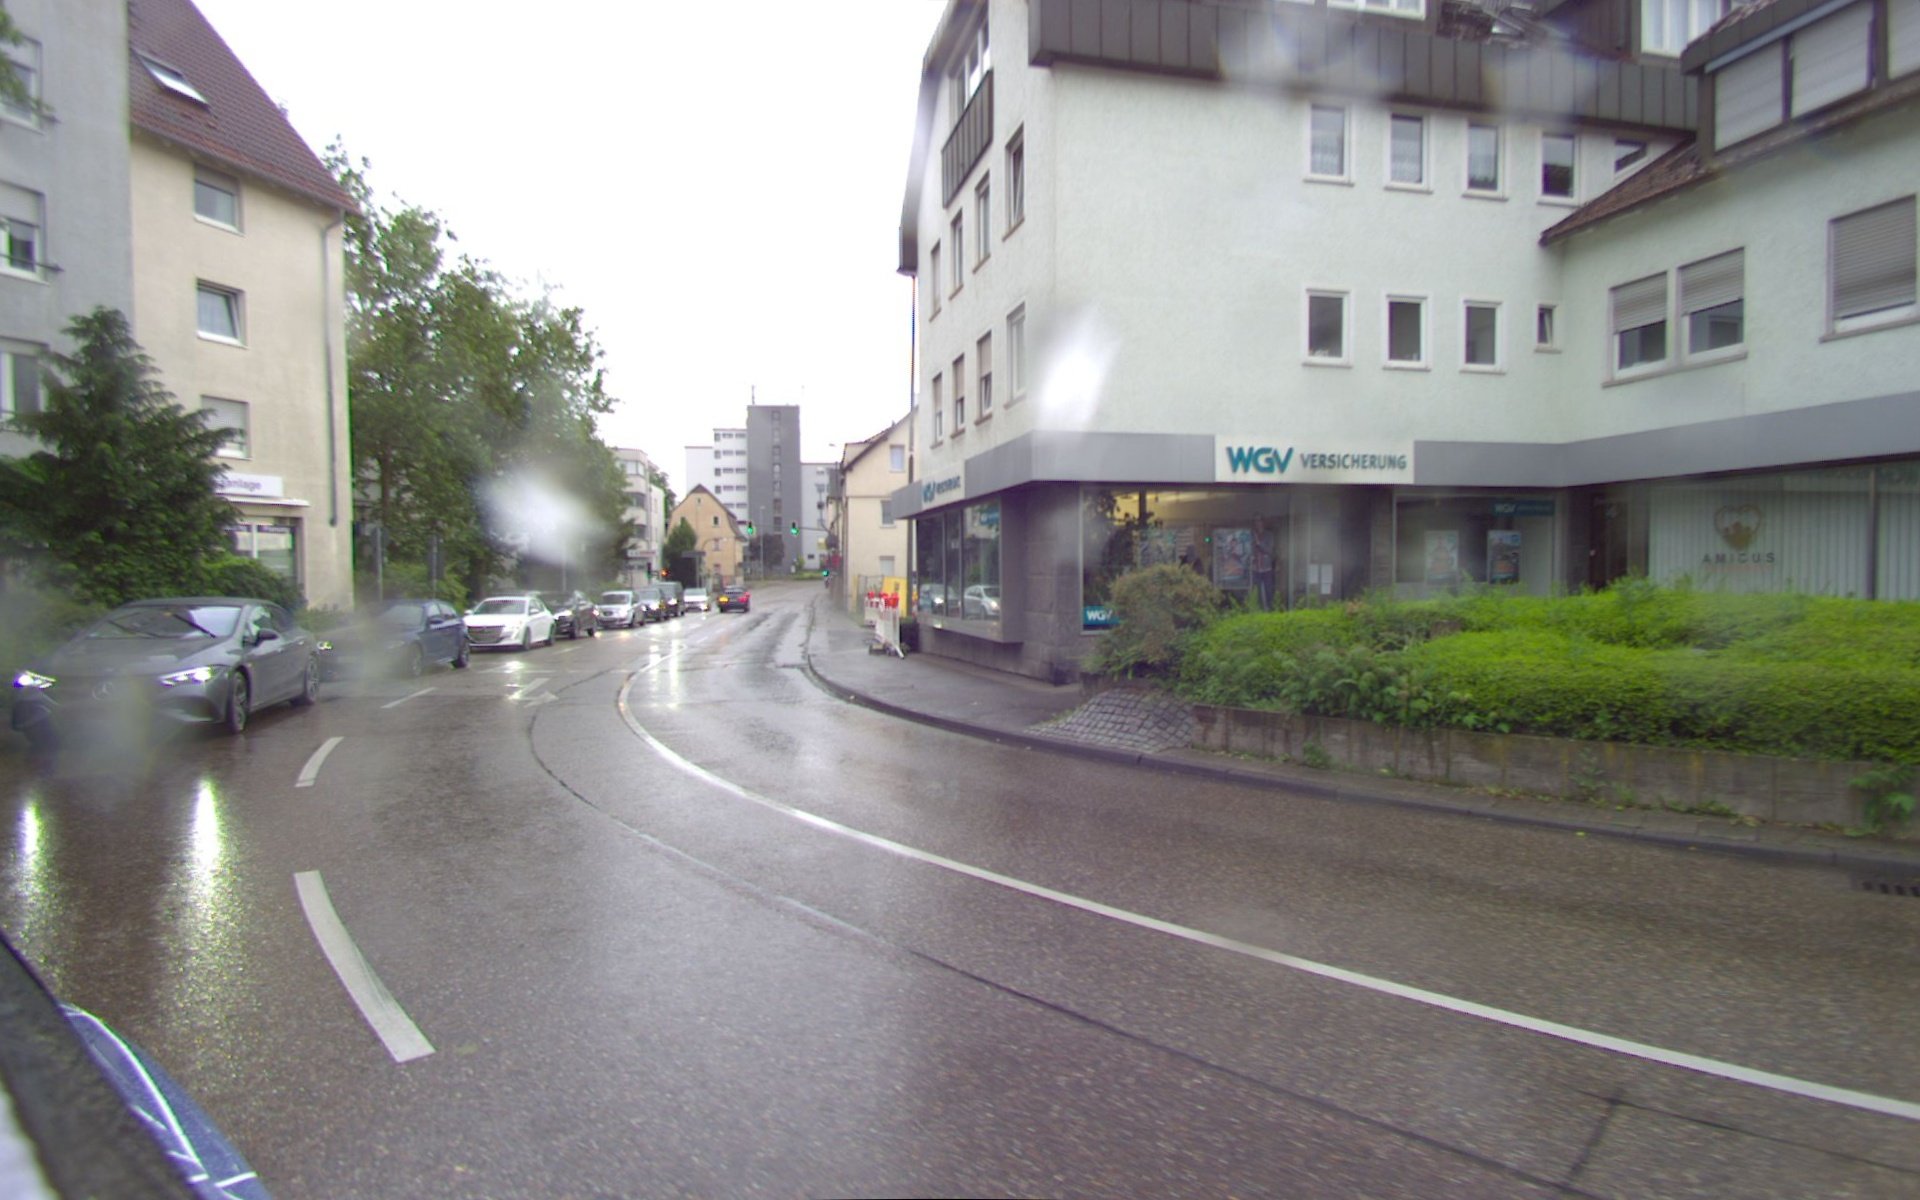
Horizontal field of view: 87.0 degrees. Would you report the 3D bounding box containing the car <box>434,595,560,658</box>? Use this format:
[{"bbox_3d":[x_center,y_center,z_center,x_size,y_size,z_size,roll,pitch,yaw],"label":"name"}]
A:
[{"bbox_3d":[-12.462,0.653,27.540,1.969,1.464,4.007,-2,1,-7],"label":"car"}]

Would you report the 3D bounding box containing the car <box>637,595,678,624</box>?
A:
[{"bbox_3d":[-16.939,0.479,56.768,1.824,1.489,4.009,-1,1,-11],"label":"car"}]

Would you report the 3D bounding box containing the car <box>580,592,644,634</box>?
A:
[{"bbox_3d":[-14.447,0.505,42.230,1.816,1.633,4.008,-1,1,-9],"label":"car"}]

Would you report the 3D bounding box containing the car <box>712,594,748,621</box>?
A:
[{"bbox_3d":[-14.265,0.470,62.981,1.786,1.577,4.007,-3,0,-8],"label":"car"}]

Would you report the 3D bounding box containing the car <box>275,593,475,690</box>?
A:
[{"bbox_3d":[-10.799,0.676,19.075,1.747,1.544,4.386,-1,1,-8],"label":"car"}]

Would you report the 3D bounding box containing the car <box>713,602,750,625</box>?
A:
[{"bbox_3d":[-17.481,1.018,77.361,1.965,1.608,4.014,-1,2,-24],"label":"car"}]

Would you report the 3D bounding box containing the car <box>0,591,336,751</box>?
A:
[{"bbox_3d":[-9.193,0.659,11.965,1.966,1.504,4.326,-1,1,-16],"label":"car"}]

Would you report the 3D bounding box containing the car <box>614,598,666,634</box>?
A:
[{"bbox_3d":[-15.546,0.757,49.351,1.804,1.563,4.008,-3,1,-9],"label":"car"}]

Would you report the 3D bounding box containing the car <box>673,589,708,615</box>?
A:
[{"bbox_3d":[-17.794,0.166,66.971,1.967,1.563,4.010,-3,0,-13],"label":"car"}]

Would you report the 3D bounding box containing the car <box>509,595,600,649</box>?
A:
[{"bbox_3d":[-13.427,0.696,33.745,1.786,1.577,4.006,-3,0,-7],"label":"car"}]

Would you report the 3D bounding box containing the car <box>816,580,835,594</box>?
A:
[{"bbox_3d":[-17.263,-1.642,129.822,1.804,1.724,3.795,-1,2,1],"label":"car"}]
